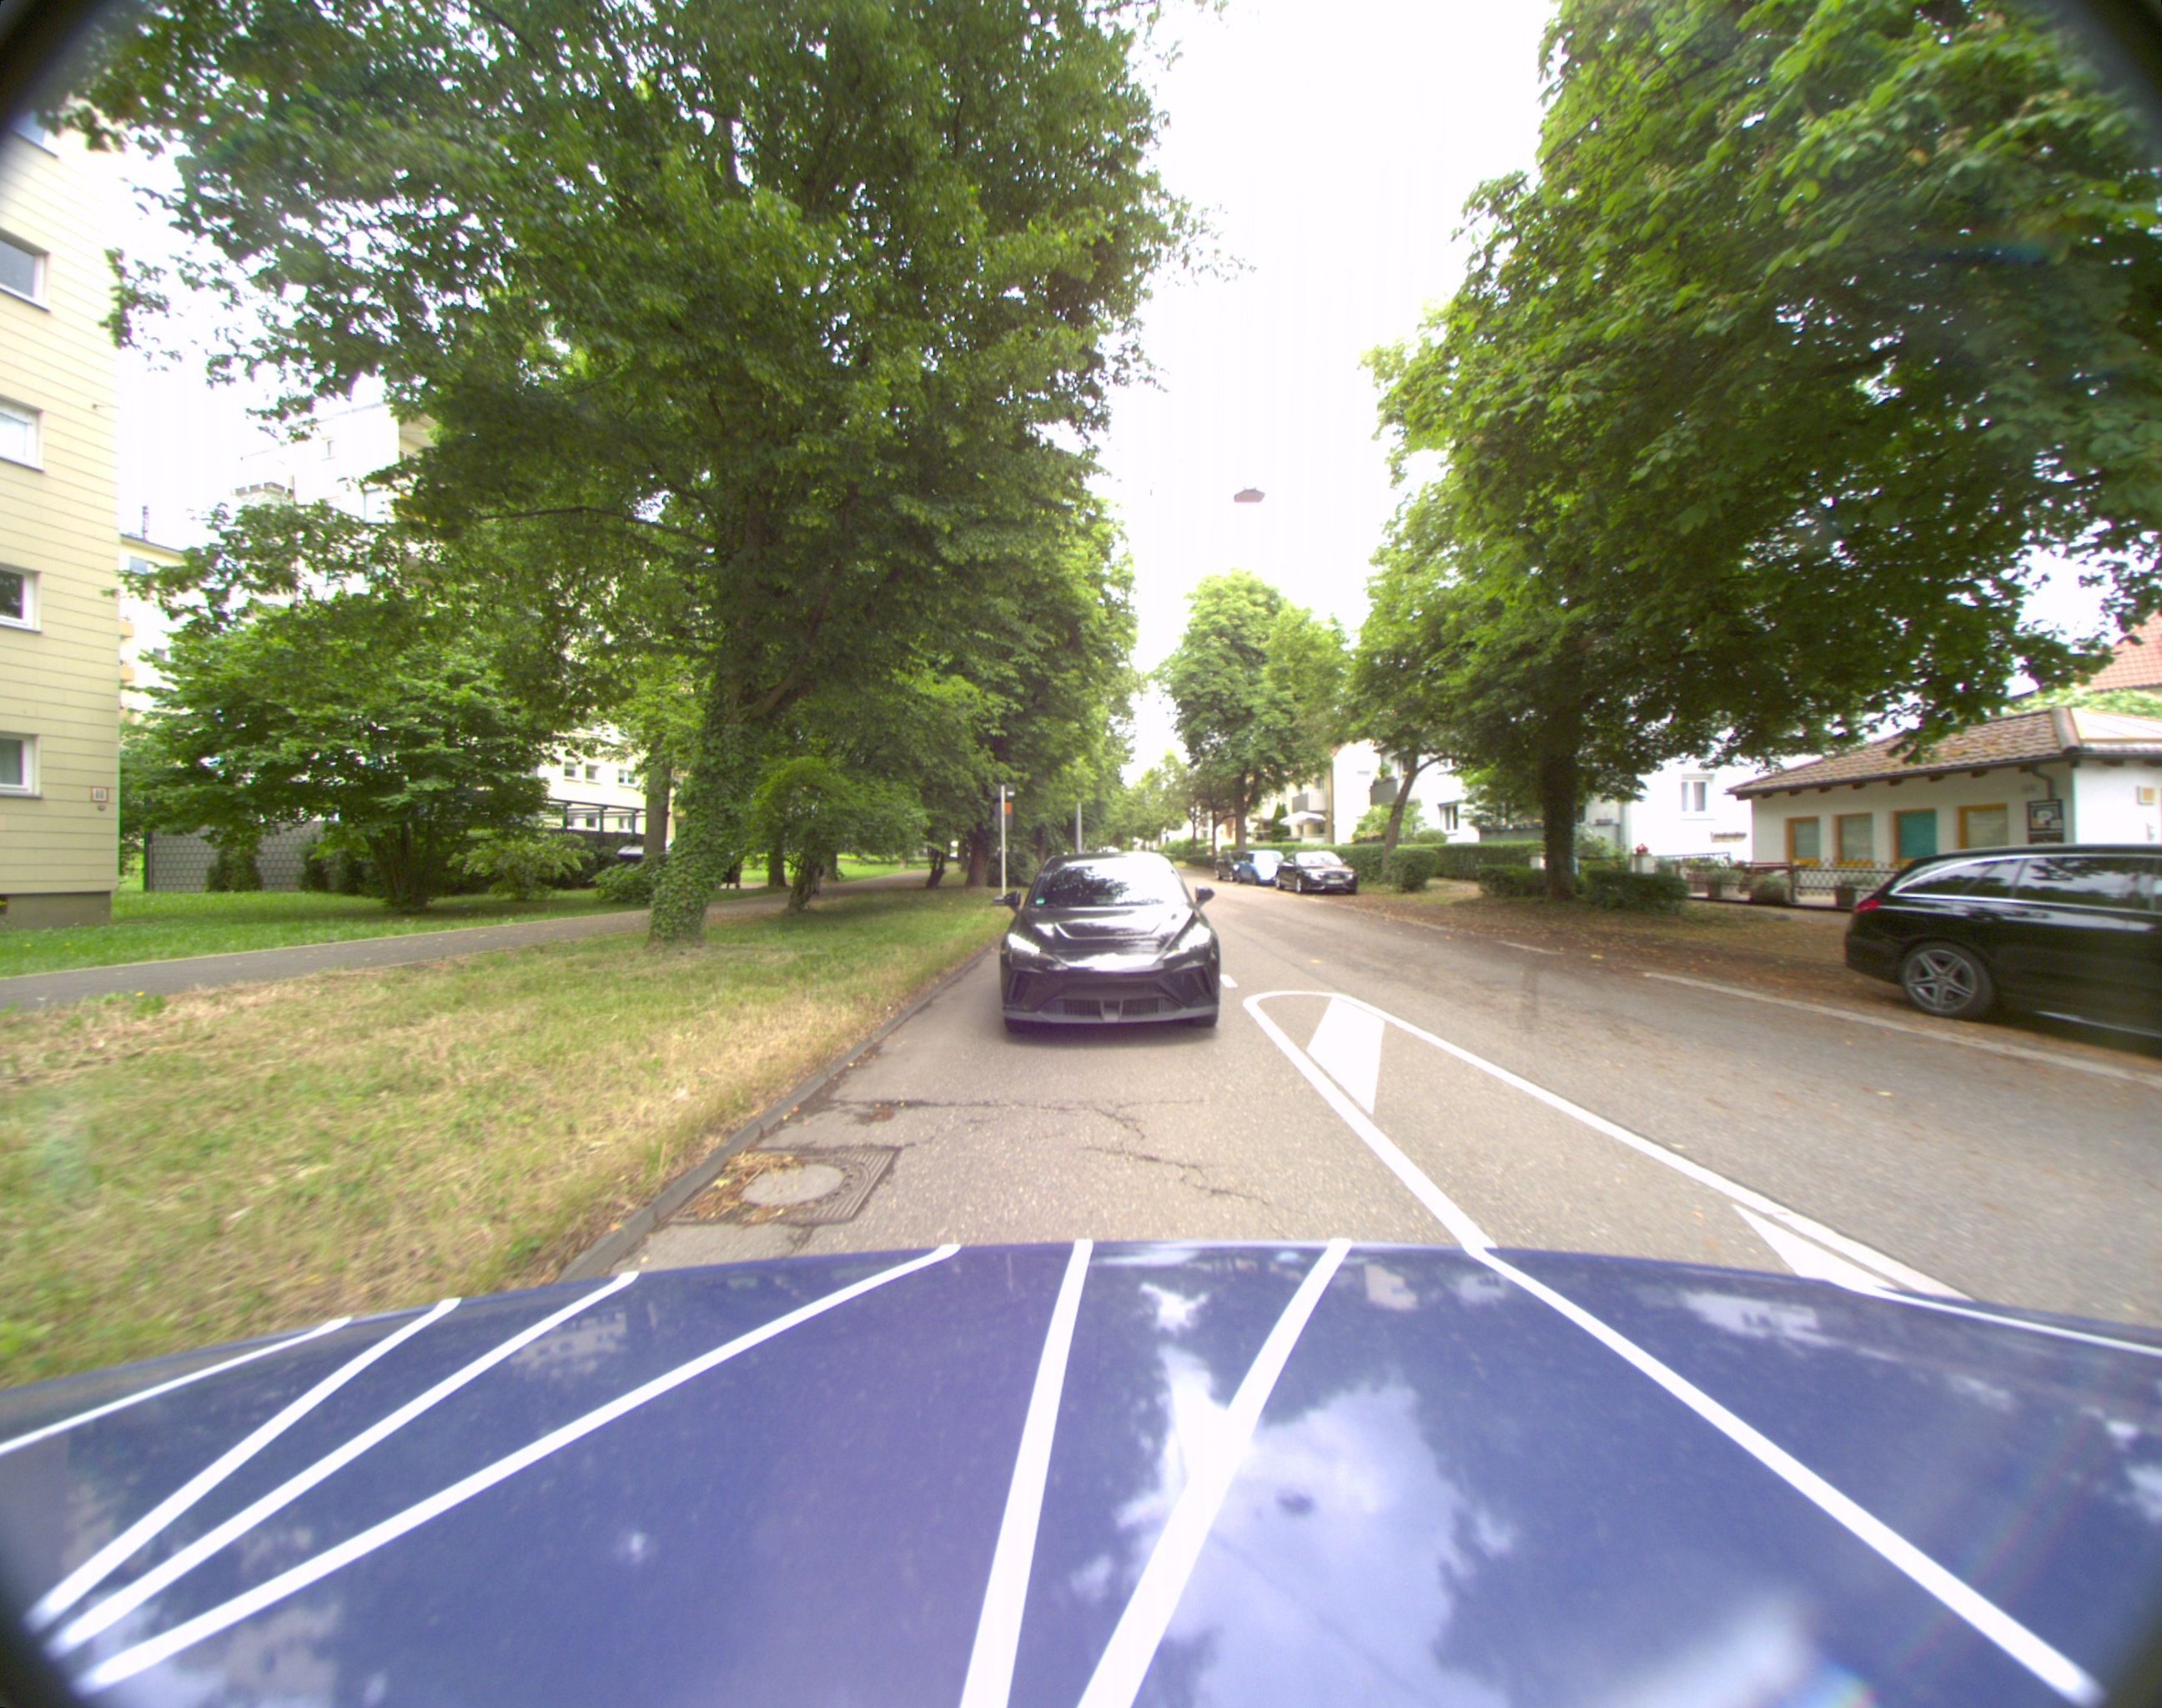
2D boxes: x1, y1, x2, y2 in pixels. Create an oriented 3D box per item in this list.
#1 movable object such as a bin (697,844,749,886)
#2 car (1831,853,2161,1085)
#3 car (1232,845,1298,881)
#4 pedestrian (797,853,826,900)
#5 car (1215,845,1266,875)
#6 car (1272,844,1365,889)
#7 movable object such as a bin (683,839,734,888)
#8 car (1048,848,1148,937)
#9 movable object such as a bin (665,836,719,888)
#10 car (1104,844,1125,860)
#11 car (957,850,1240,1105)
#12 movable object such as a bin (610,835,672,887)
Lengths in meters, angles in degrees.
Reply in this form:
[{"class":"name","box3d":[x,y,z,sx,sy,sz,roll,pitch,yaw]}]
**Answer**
[{"class":"movable object such as a bin","box3d":[-12.910,0.377,27.468,1.328,1.466,1.201,1,2,-3]},{"class":"car","box3d":[7.777,0.754,4.695,1.749,1.442,4.593,0,1,0]},{"class":"car","box3d":[7.432,0.335,30.991,1.637,1.368,4.151,0,0,-1]},{"class":"pedestrian","box3d":[-8.177,0.669,23.051,0.689,1.373,0.605,0,2,-7]},{"class":"car","box3d":[7.385,0.261,35.504,1.540,1.368,3.771,0,0,-1]},{"class":"car","box3d":[7.778,0.386,25.336,1.852,1.368,4.594,0,0,2]},{"class":"movable object such as a bin","box3d":[-12.842,0.314,26.255,1.240,1.633,1.075,1,2,-3]},{"class":"car","box3d":[0.378,0.685,15.782,1.814,1.521,3.999,0,2,2]},{"class":"movable object such as a bin","box3d":[-12.793,0.253,25.018,1.278,1.633,1.020,1,2,-3]},{"class":"car","box3d":[3.401,-0.259,77.886,1.998,1.586,4.000,0,1,1]},{"class":"car","box3d":[0.269,0.792,7.030,1.803,1.542,4.299,-1,1,4]},{"class":"movable object such as a bin","box3d":[-14.413,0.220,24.937,1.435,1.633,1.020,1,2,-3]}]
